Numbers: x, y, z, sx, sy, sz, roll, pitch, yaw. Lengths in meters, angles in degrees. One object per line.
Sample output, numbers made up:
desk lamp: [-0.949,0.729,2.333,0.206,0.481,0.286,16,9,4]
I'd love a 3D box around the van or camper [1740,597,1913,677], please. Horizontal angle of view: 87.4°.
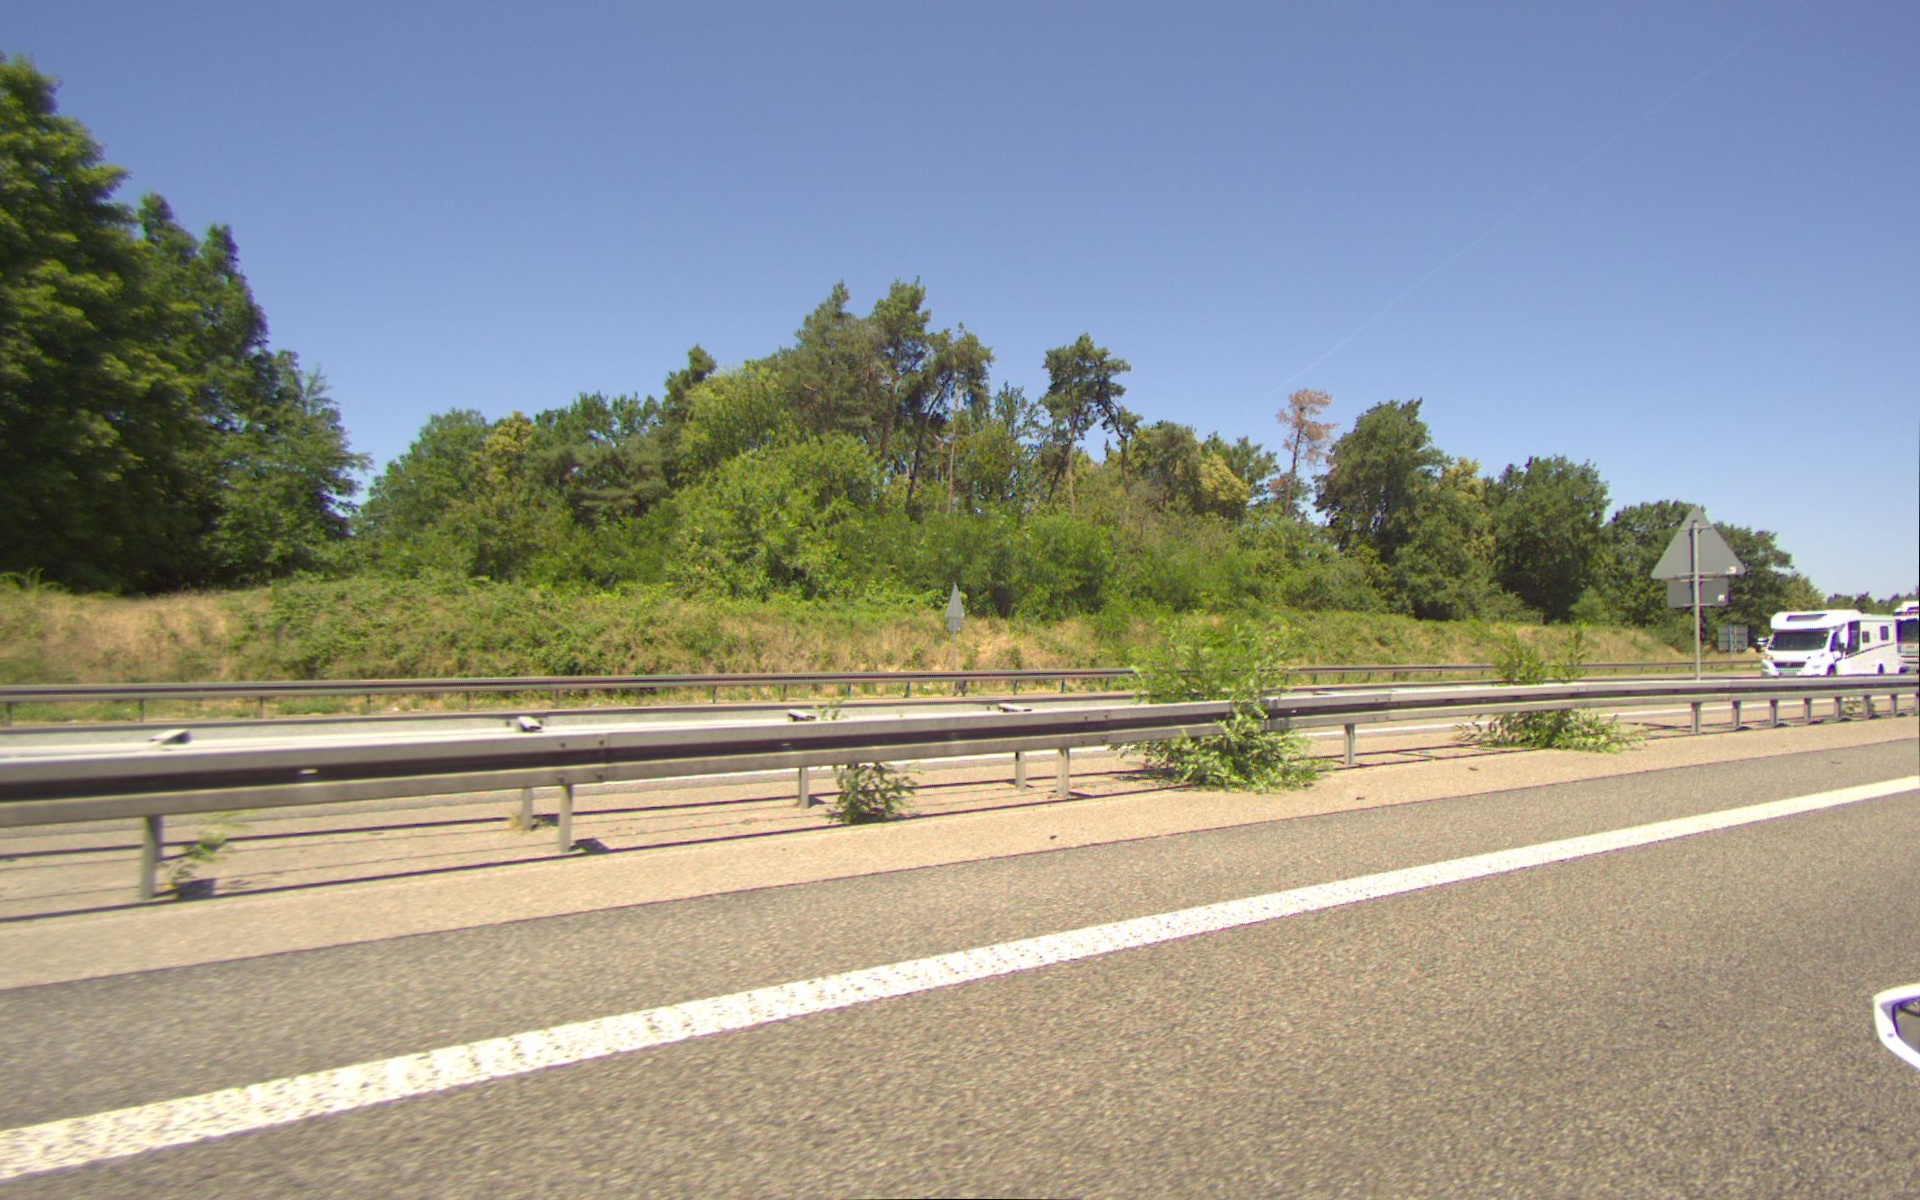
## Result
van or camper: [33.782,1.451,39.068,8.461,2.847,2.490,2,-2,-30]

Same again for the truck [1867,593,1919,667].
truck: [59.415,1.840,59.894,16.675,4.048,3.309,2,-2,-31]
